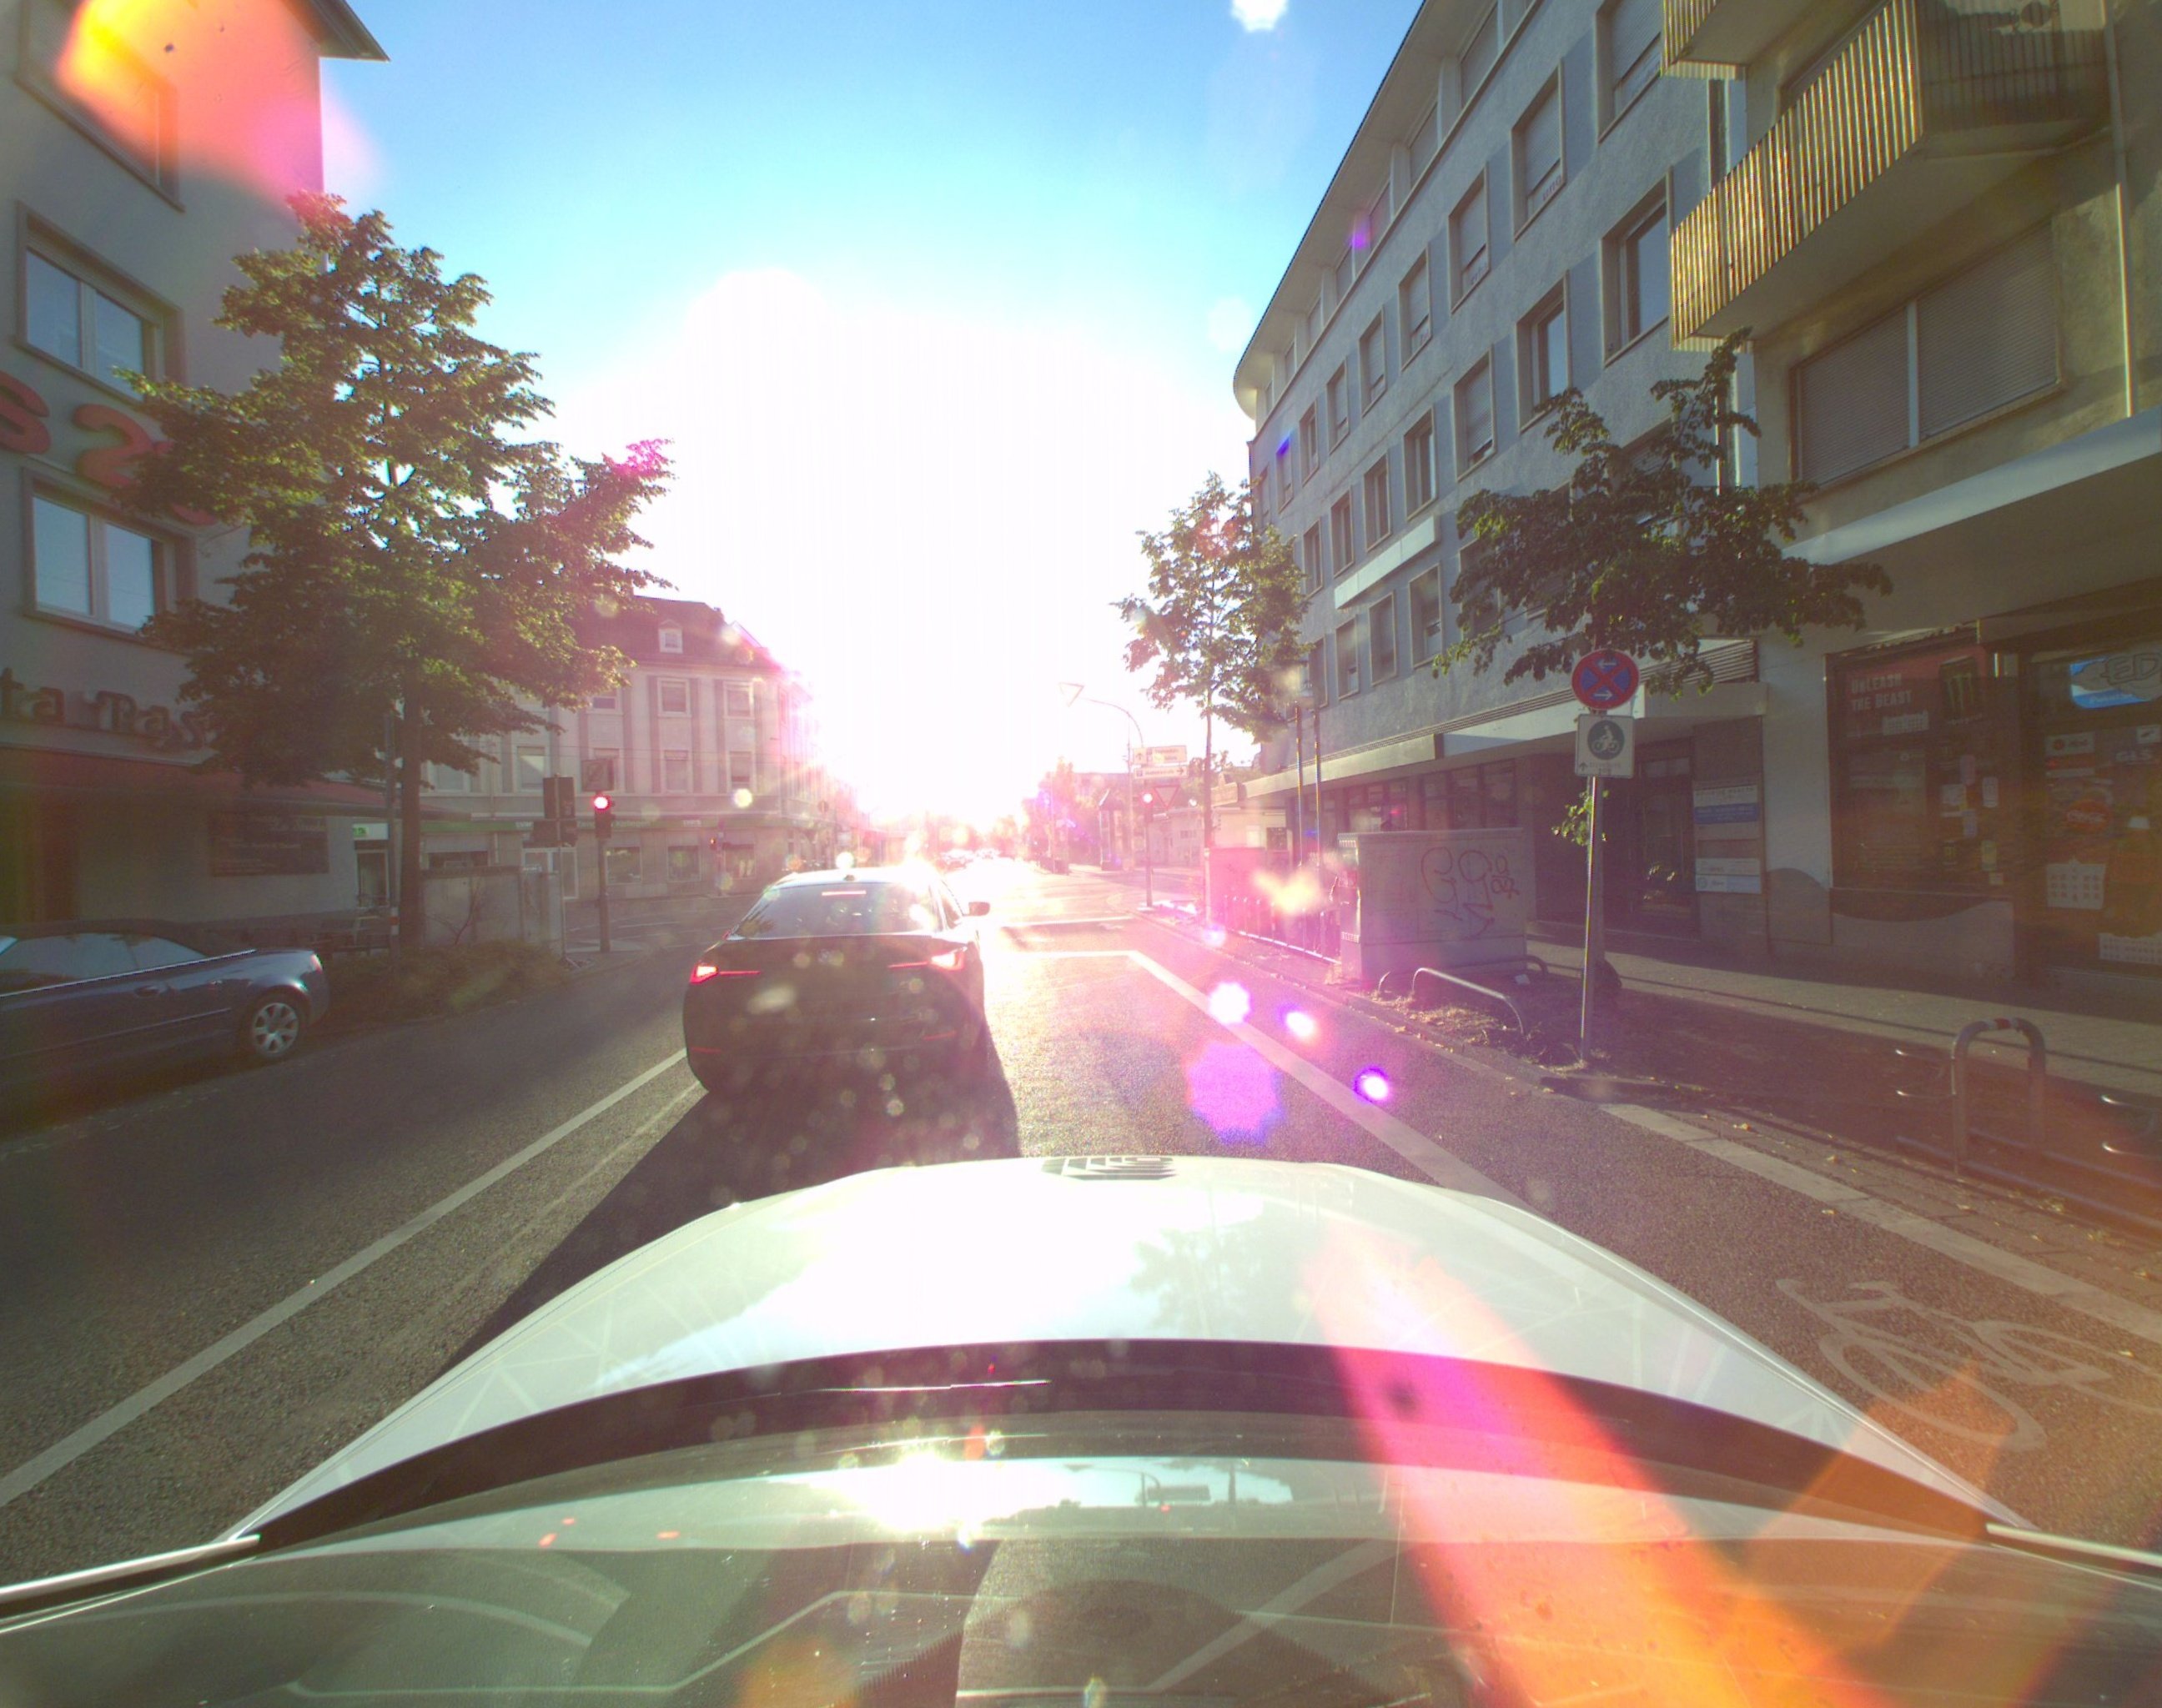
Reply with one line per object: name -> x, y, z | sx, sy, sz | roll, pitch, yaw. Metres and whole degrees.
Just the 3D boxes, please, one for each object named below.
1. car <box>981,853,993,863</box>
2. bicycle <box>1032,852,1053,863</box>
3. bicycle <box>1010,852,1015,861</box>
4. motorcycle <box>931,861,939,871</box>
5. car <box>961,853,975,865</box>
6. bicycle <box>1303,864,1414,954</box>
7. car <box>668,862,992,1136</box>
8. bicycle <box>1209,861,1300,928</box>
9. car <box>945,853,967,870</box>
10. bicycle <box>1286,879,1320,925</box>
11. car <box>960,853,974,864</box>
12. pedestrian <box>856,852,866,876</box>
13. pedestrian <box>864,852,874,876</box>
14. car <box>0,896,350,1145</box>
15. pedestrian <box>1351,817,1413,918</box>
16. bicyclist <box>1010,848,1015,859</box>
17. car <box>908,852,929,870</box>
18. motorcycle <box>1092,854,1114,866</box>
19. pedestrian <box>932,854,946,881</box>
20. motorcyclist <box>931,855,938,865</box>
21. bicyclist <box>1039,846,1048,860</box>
car -> -14.837, 0.648, 128.994 | 1.816, 1.519, 3.992 | -2, 0, -6
bicycle -> -4.201, 0.426, 89.303 | 2.202, 1.202, 0.621 | 0, 0, 4
bicycle -> -9.498, 0.374, 112.972 | 0.549, 1.159, 2.138 | -1, -1, -7
motorcycle -> -14.470, 1.159, 80.564 | 0.574, 0.915, 2.196 | 0, 0, -6
car -> -15.687, 0.680, 113.255 | 1.816, 1.519, 3.992 | -2, 0, -6
bicycle -> 3.892, 0.755, 11.438 | 1.438, 1.220, 0.383 | 0, 0, -5
car -> -1.646, 0.811, 6.665 | 1.735, 1.428, 4.213 | -1, 0, -7
bicycle -> 3.232, 0.747, 15.215 | 1.610, 1.171, 0.318 | -2, 0, -5
car -> -11.980, 0.696, 78.119 | 1.816, 1.519, 3.992 | -2, 0, -6
bicycle -> 4.179, 0.885, 15.372 | 0.249, 0.796, 1.113 | 0, 0, -5
car -> -17.313, 0.680, 123.832 | 1.816, 1.519, 3.992 | -2, 0, -6
pedestrian -> -17.144, 0.789, 63.476 | 0.642, 1.876, 0.630 | 0, 0, -7
pedestrian -> -16.426, 0.784, 63.049 | 0.675, 1.876, 0.616 | 0, 0, -6
car -> -7.639, 1.159, 5.546 | 1.721, 1.415, 4.270 | -4, 0, -7
pedestrian -> 5.733, 0.252, 15.544 | 0.834, 1.841, 0.677 | -2, 0, -6
bicyclist -> -9.513, -0.059, 113.034 | 0.549, 1.481, 0.721 | -1, -1, -8
car -> -17.507, 0.697, 87.721 | 1.816, 1.788, 3.992 | -2, 0, -6
motorcycle -> 1.836, 0.462, 67.977 | 1.673, 0.939, 0.851 | -2, 0, -18
pedestrian -> -8.081, 0.780, 46.317 | 0.734, 1.529, 0.470 | 0, 0, -15
motorcyclist -> -14.442, 0.628, 80.335 | 0.574, 0.995, 0.701 | 0, 0, -6
bicyclist -> -4.110, -0.150, 89.302 | 0.879, 1.505, 0.613 | 0, 0, 5
